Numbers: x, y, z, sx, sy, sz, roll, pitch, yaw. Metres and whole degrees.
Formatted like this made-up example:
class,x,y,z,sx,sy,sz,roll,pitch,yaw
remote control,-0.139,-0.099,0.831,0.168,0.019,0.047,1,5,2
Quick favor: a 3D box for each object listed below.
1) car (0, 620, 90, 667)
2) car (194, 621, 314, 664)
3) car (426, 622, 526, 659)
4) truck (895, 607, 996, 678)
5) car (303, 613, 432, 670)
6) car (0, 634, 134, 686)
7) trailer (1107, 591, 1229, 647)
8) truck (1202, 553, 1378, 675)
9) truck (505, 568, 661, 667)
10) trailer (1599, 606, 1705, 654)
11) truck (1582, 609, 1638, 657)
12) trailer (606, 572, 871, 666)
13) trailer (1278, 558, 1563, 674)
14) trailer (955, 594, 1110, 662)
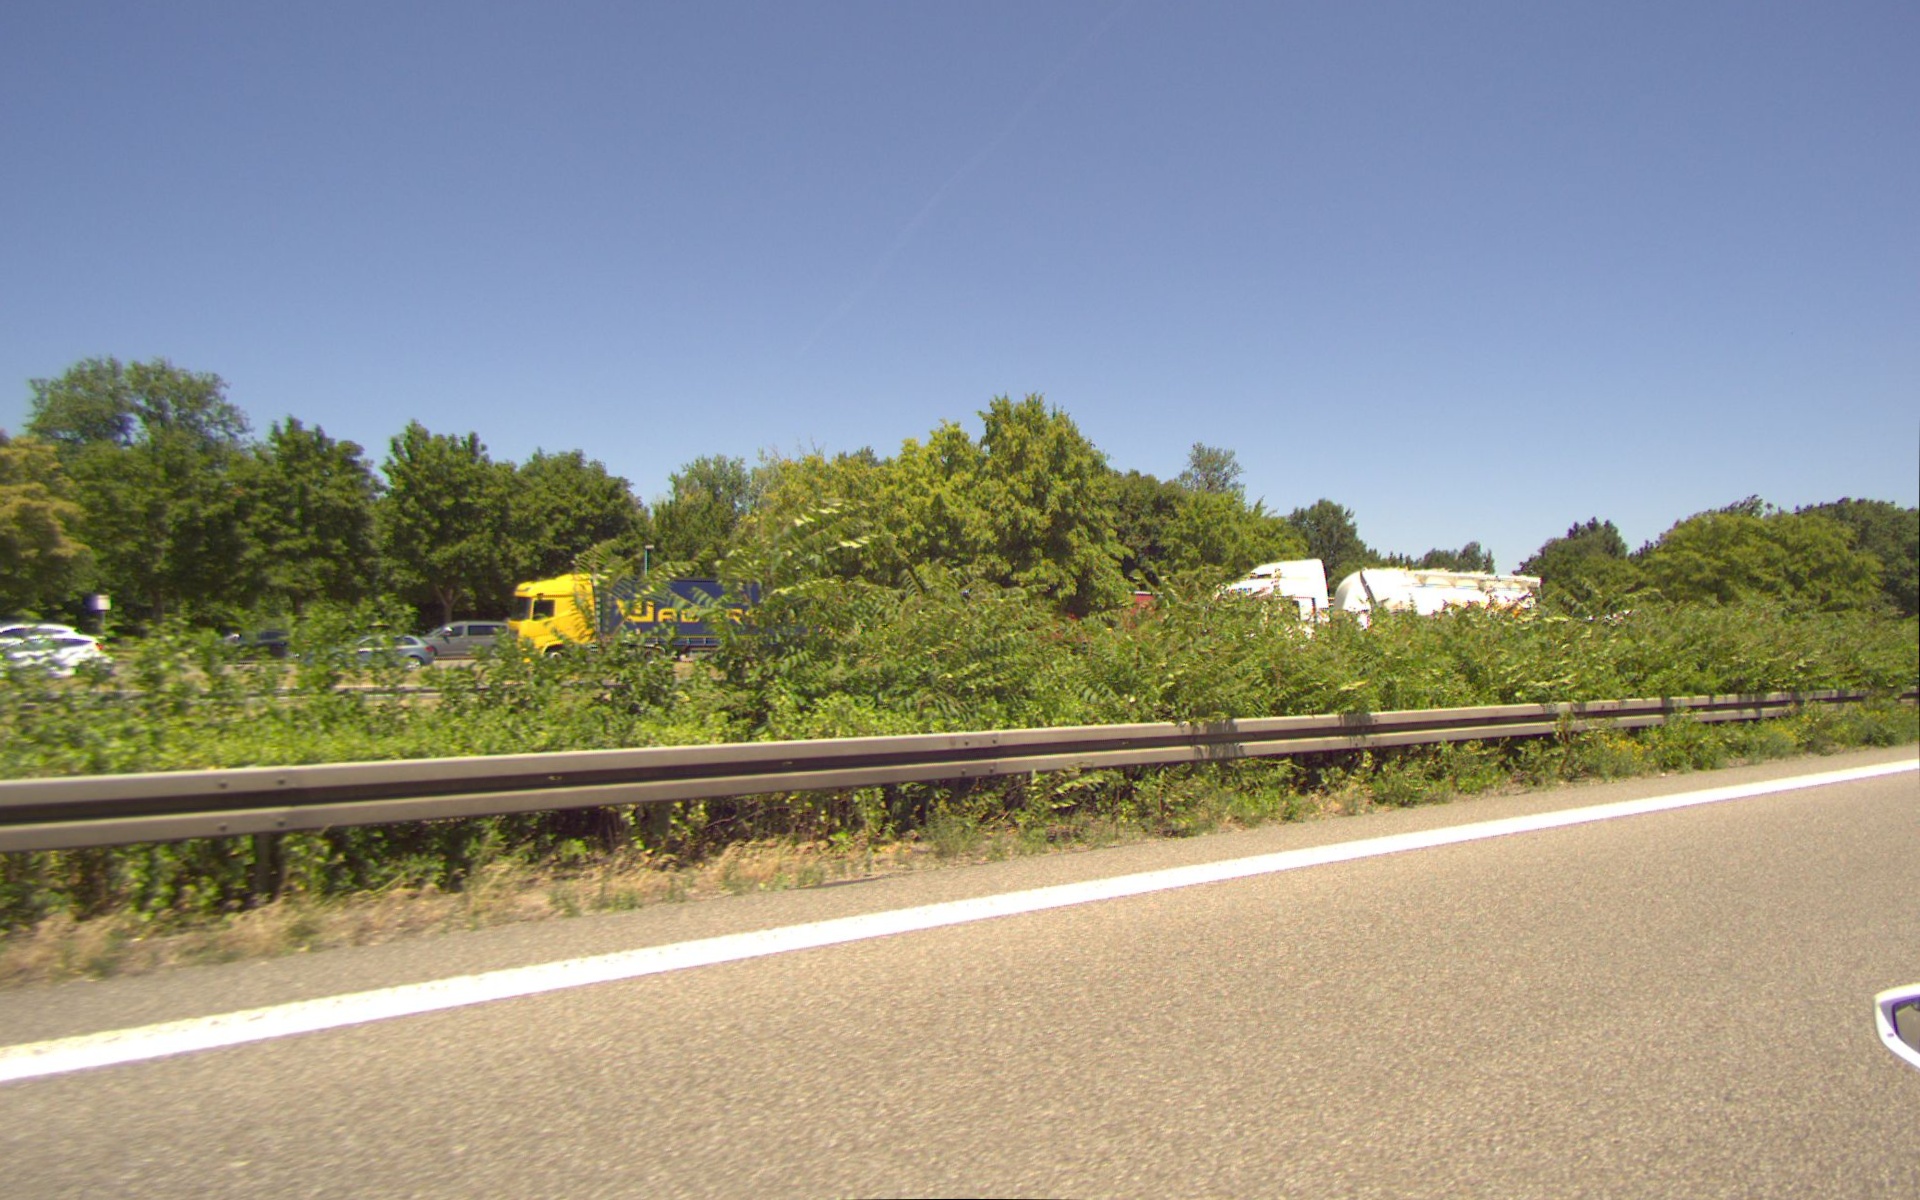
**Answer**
class,x,y,z,sx,sy,sz,roll,pitch,yaw
car,-35.083,1.618,37.436,3.970,1.712,1.976,2,-2,-42
car,-29.719,1.770,42.331,3.970,1.712,1.976,2,-2,-42
car,-23.278,1.948,48.337,3.970,1.712,1.976,2,-2,-42
truck,-0.758,2.280,54.272,4.949,3.663,2.439,2,-2,-35
car,-22.370,1.540,37.964,3.964,2.040,1.979,2,-2,-38
car,-29.779,1.923,32.652,4.398,1.601,1.974,2,-3,-44
trailer,13.154,1.227,63.217,8.427,3.353,2.077,1,0,-32
truck,9.167,0.405,27.887,4.345,3.120,2.336,1,0,-30
truck,-16.096,0.804,43.049,5.814,3.976,2.435,2,-2,-37
trailer,59.005,2.555,85.559,10.557,3.921,2.285,1,-2,-24
truck,53.810,2.733,83.169,3.749,3.921,2.249,1,-2,-24
trailer,-10.110,0.985,47.537,12.372,4.005,2.434,2,-2,-37
trailer,14.413,0.549,30.946,10.523,3.131,2.360,1,0,-30
trailer,4.325,1.627,57.827,9.517,3.663,2.439,2,-2,-35
